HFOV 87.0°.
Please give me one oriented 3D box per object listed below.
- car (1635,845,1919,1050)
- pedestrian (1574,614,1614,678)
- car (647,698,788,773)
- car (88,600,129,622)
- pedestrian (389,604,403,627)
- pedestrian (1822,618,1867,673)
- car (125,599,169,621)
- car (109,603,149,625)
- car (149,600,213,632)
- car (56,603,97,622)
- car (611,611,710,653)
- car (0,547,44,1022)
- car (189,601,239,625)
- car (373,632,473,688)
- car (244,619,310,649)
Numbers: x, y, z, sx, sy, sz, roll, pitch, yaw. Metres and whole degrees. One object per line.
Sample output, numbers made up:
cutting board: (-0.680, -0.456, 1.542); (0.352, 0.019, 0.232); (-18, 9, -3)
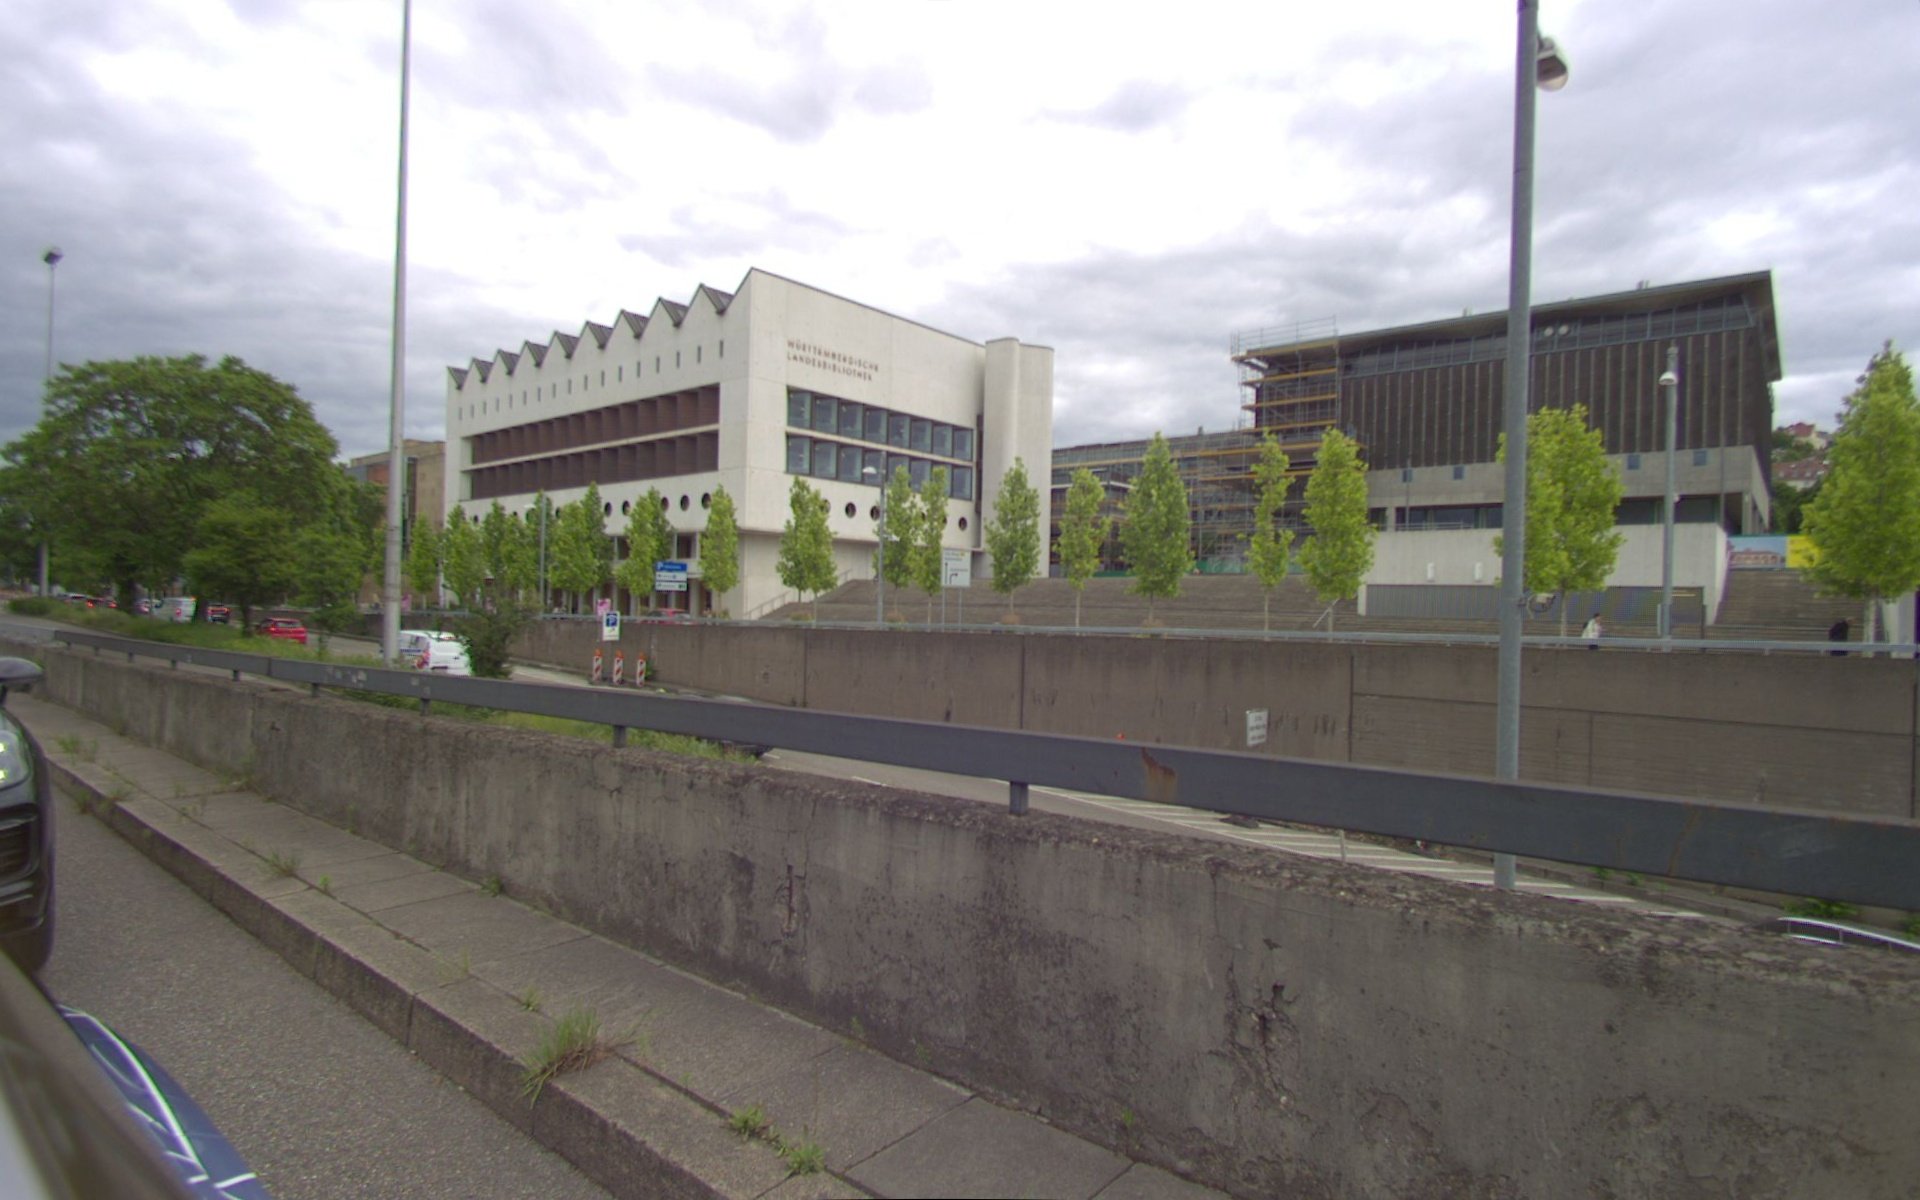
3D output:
car: (10.858, 4.328, 12.661); (3.903, 1.553, 1.696); (1, 2, 39)
pedestrian: (20.335, 1.478, 32.457); (0.728, 2.029, 0.795); (1, -3, -33)
car: (-6.725, 3.671, 27.892); (3.999, 1.560, 1.855); (0, -1, 42)
car: (-66.825, 0.862, 79.433); (4.144, 1.500, 1.757); (3, 0, 40)
pedestrian: (-49.175, 1.345, 88.236); (1.016, 2.029, 0.712); (1, 1, 42)
pedestrian: (27.260, 1.393, 31.198); (0.728, 1.655, 0.795); (1, -3, -30)
car: (-65.049, 0.780, 80.951); (4.141, 1.500, 1.758); (3, 0, 38)
car: (-72.908, 1.258, 88.769); (3.998, 1.776, 1.973); (0, -3, 41)
car: (-49.707, 0.984, 64.549); (5.246, 1.651, 1.973); (2, -5, 40)
car: (-74.986, 1.053, 85.870); (3.998, 1.409, 1.973); (0, -4, 41)
car: (-14.236, 1.499, 48.044); (4.729, 1.869, 2.154); (-1, -1, 38)
car: (-5.515, 0.616, 4.438); (4.733, 1.602, 1.879); (0, 0, 44)
car: (-53.056, 0.919, 71.959); (4.141, 1.500, 1.758); (3, 0, 38)
car: (-21.500, 2.339, 40.425); (2.192, 2.029, 5.120); (1, -2, -44)
car: (-35.787, 1.767, 53.027); (3.999, 1.497, 1.972); (-1, -2, 42)
